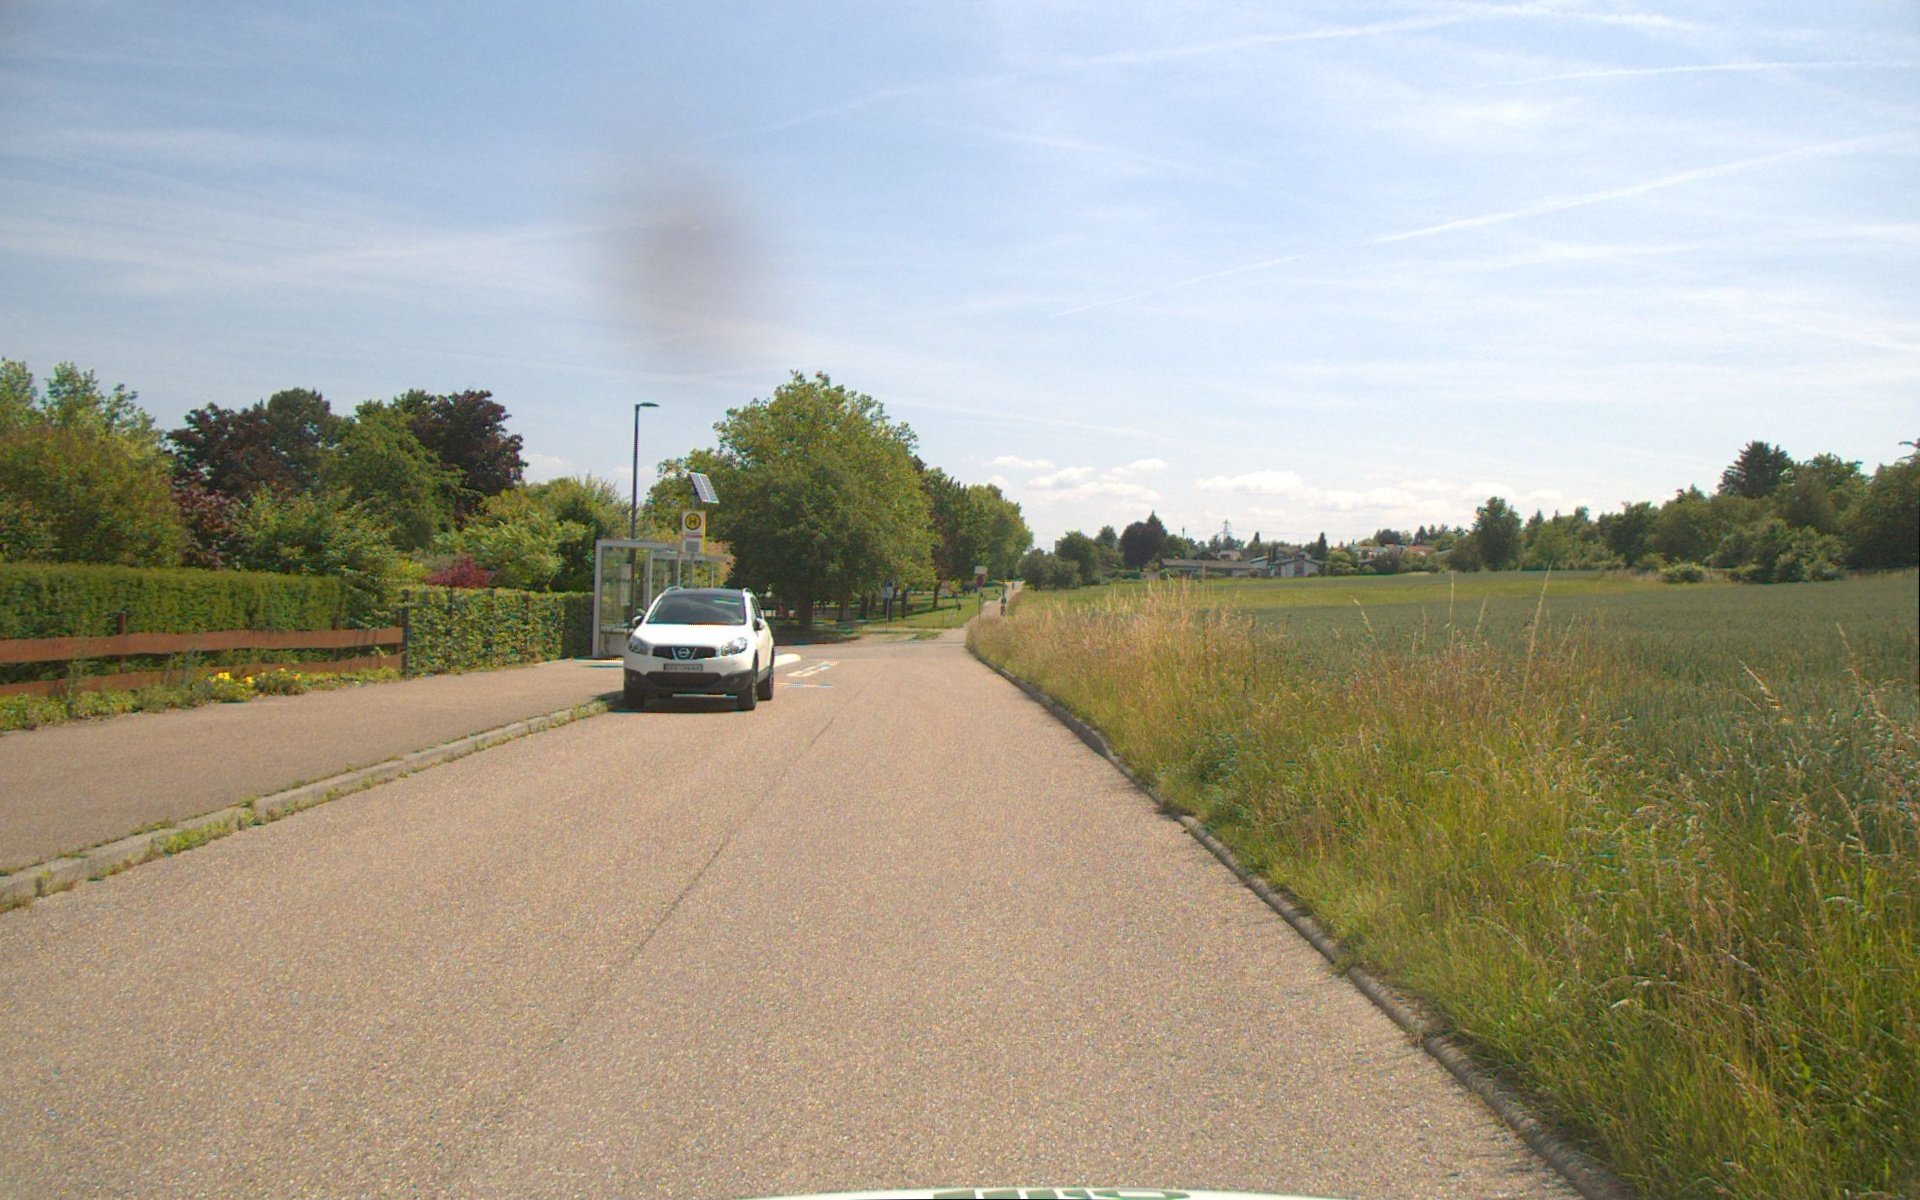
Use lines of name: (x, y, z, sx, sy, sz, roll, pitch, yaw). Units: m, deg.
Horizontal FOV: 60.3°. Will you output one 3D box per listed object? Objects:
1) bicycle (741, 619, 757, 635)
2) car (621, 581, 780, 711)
bicycle: (-14.697, 1.861, 115.101, 0.582, 1.057, 1.894, -1, 0, 9)
car: (-3.594, 0.622, 23.580, 1.699, 1.662, 4.350, 1, -1, -2)
